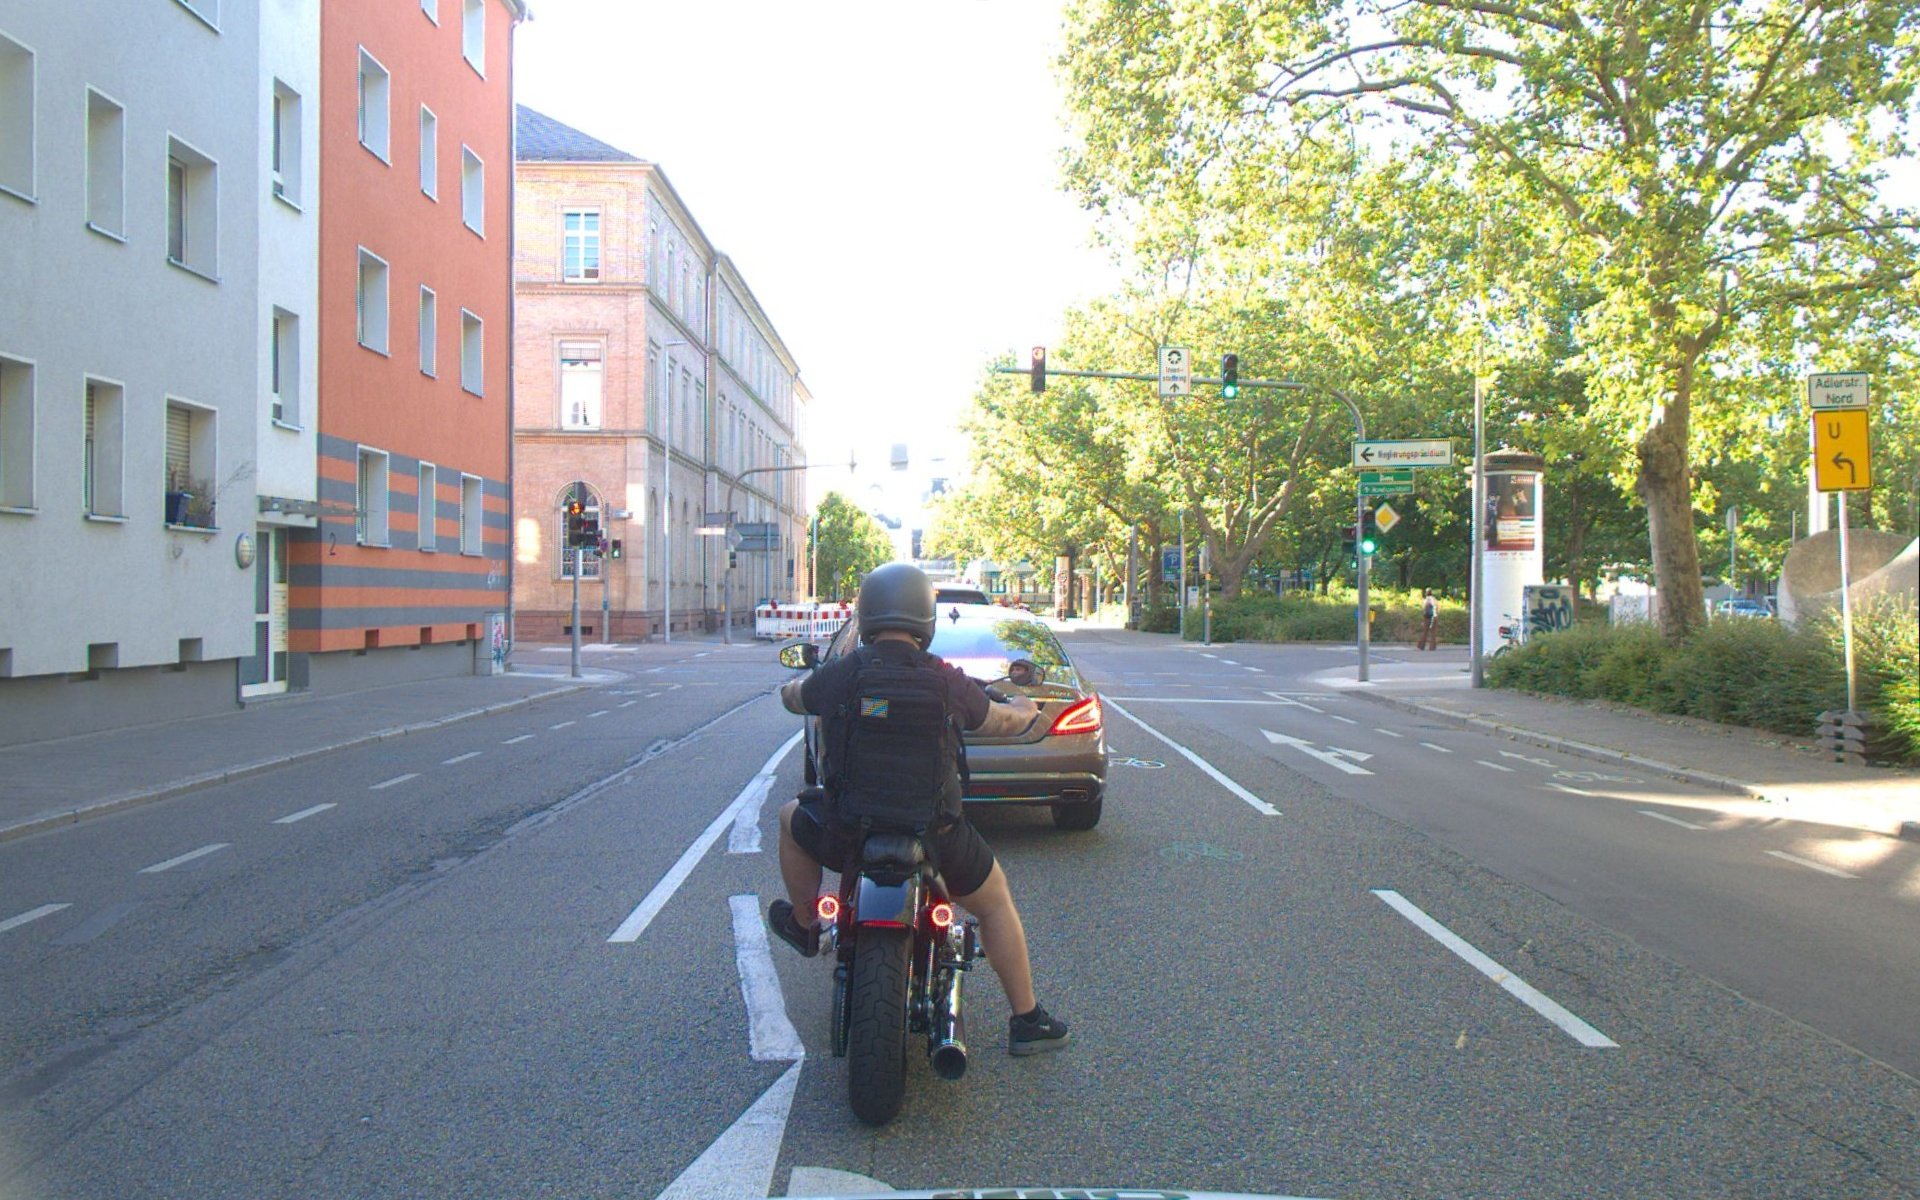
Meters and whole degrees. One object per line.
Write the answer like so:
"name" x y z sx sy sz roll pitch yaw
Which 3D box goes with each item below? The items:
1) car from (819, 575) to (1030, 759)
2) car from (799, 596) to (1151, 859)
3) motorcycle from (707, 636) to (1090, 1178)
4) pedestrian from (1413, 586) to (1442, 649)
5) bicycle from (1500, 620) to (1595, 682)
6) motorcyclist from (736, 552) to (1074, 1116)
"car" -0.359 0.633 17.527 1.953 1.695 3.999 1 0 -1
"car" -0.111 0.710 11.608 1.834 1.469 4.422 0 0 -8
"motorcycle" -0.172 0.799 5.367 0.961 1.297 2.407 0 0 -1
"pedestrian" 13.442 0.503 47.573 0.664 1.803 0.616 1 -1 29
"bicycle" 9.790 0.839 27.584 1.452 0.997 0.299 1 -1 5
"motorcyclist" -0.165 0.665 5.345 0.961 1.606 1.248 0 0 -1
